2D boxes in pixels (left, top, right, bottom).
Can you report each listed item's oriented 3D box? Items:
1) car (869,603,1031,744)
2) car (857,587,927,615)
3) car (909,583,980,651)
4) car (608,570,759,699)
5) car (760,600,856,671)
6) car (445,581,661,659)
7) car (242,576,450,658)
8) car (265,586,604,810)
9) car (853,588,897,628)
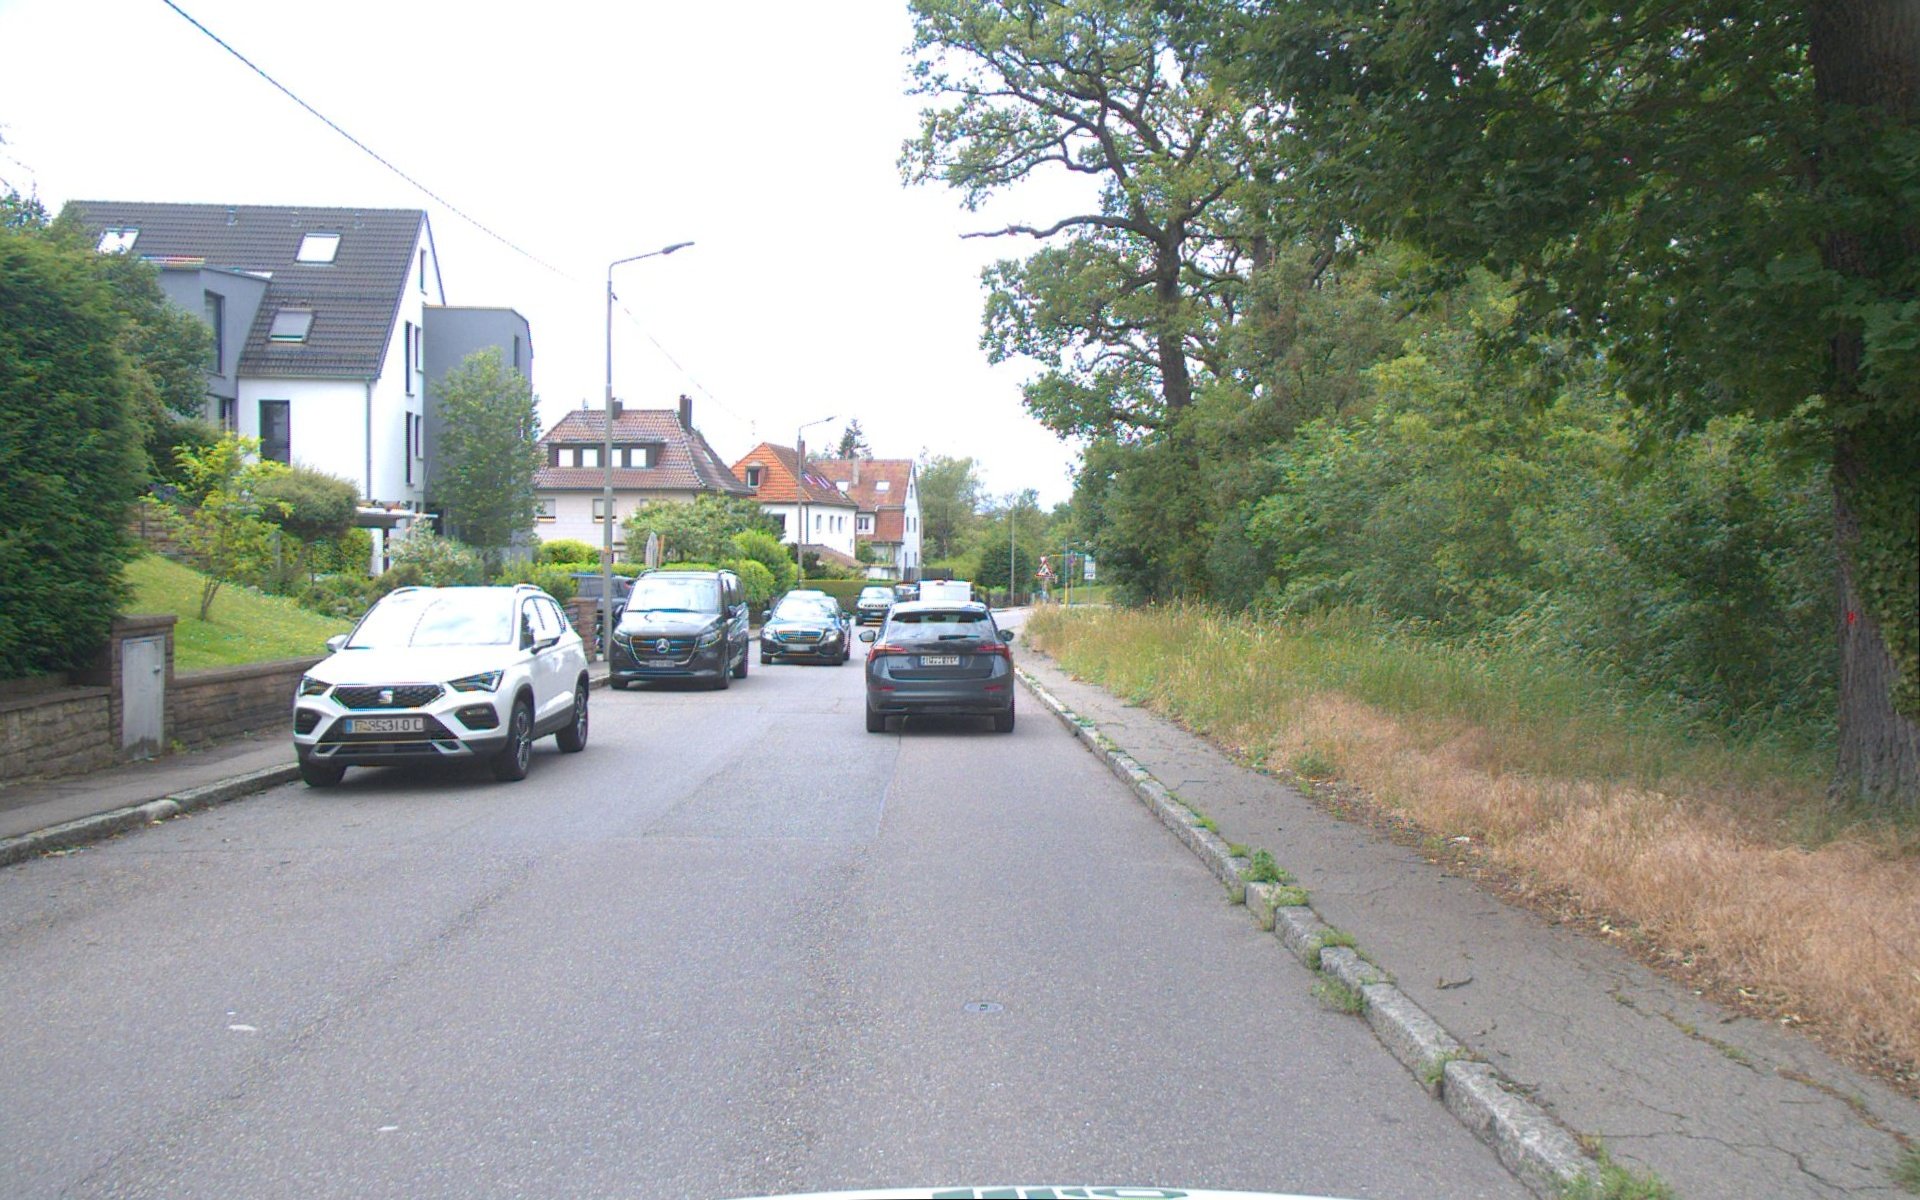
[{"bbox_3d":[-0.221,0.800,20.076,1.694,1.464,4.320,1,0,-4],"label":"car"},{"bbox_3d":[-4.082,0.037,99.207,3.902,1.646,2.002,0,0,8],"label":"car"},{"bbox_3d":[-0.502,0.490,50.661,2.030,1.956,4.921,1,0,-2],"label":"car"},{"bbox_3d":[-4.595,0.530,28.207,1.825,1.960,5.036,1,0,-2],"label":"car"},{"bbox_3d":[-3.322,0.745,36.891,1.825,1.439,4.590,2,0,-2],"label":"car"},{"bbox_3d":[-9.265,0.444,37.971,4.525,1.727,1.998,0,0,-5],"label":"car"},{"bbox_3d":[-13.926,0.365,37.712,4.041,1.726,1.999,0,2,-5],"label":"car"},{"bbox_3d":[-4.502,0.756,14.856,1.801,1.677,4.184,-1,0,-2],"label":"car"},{"bbox_3d":[-3.657,0.321,71.718,1.796,1.625,4.322,1,1,-2],"label":"car"}]
